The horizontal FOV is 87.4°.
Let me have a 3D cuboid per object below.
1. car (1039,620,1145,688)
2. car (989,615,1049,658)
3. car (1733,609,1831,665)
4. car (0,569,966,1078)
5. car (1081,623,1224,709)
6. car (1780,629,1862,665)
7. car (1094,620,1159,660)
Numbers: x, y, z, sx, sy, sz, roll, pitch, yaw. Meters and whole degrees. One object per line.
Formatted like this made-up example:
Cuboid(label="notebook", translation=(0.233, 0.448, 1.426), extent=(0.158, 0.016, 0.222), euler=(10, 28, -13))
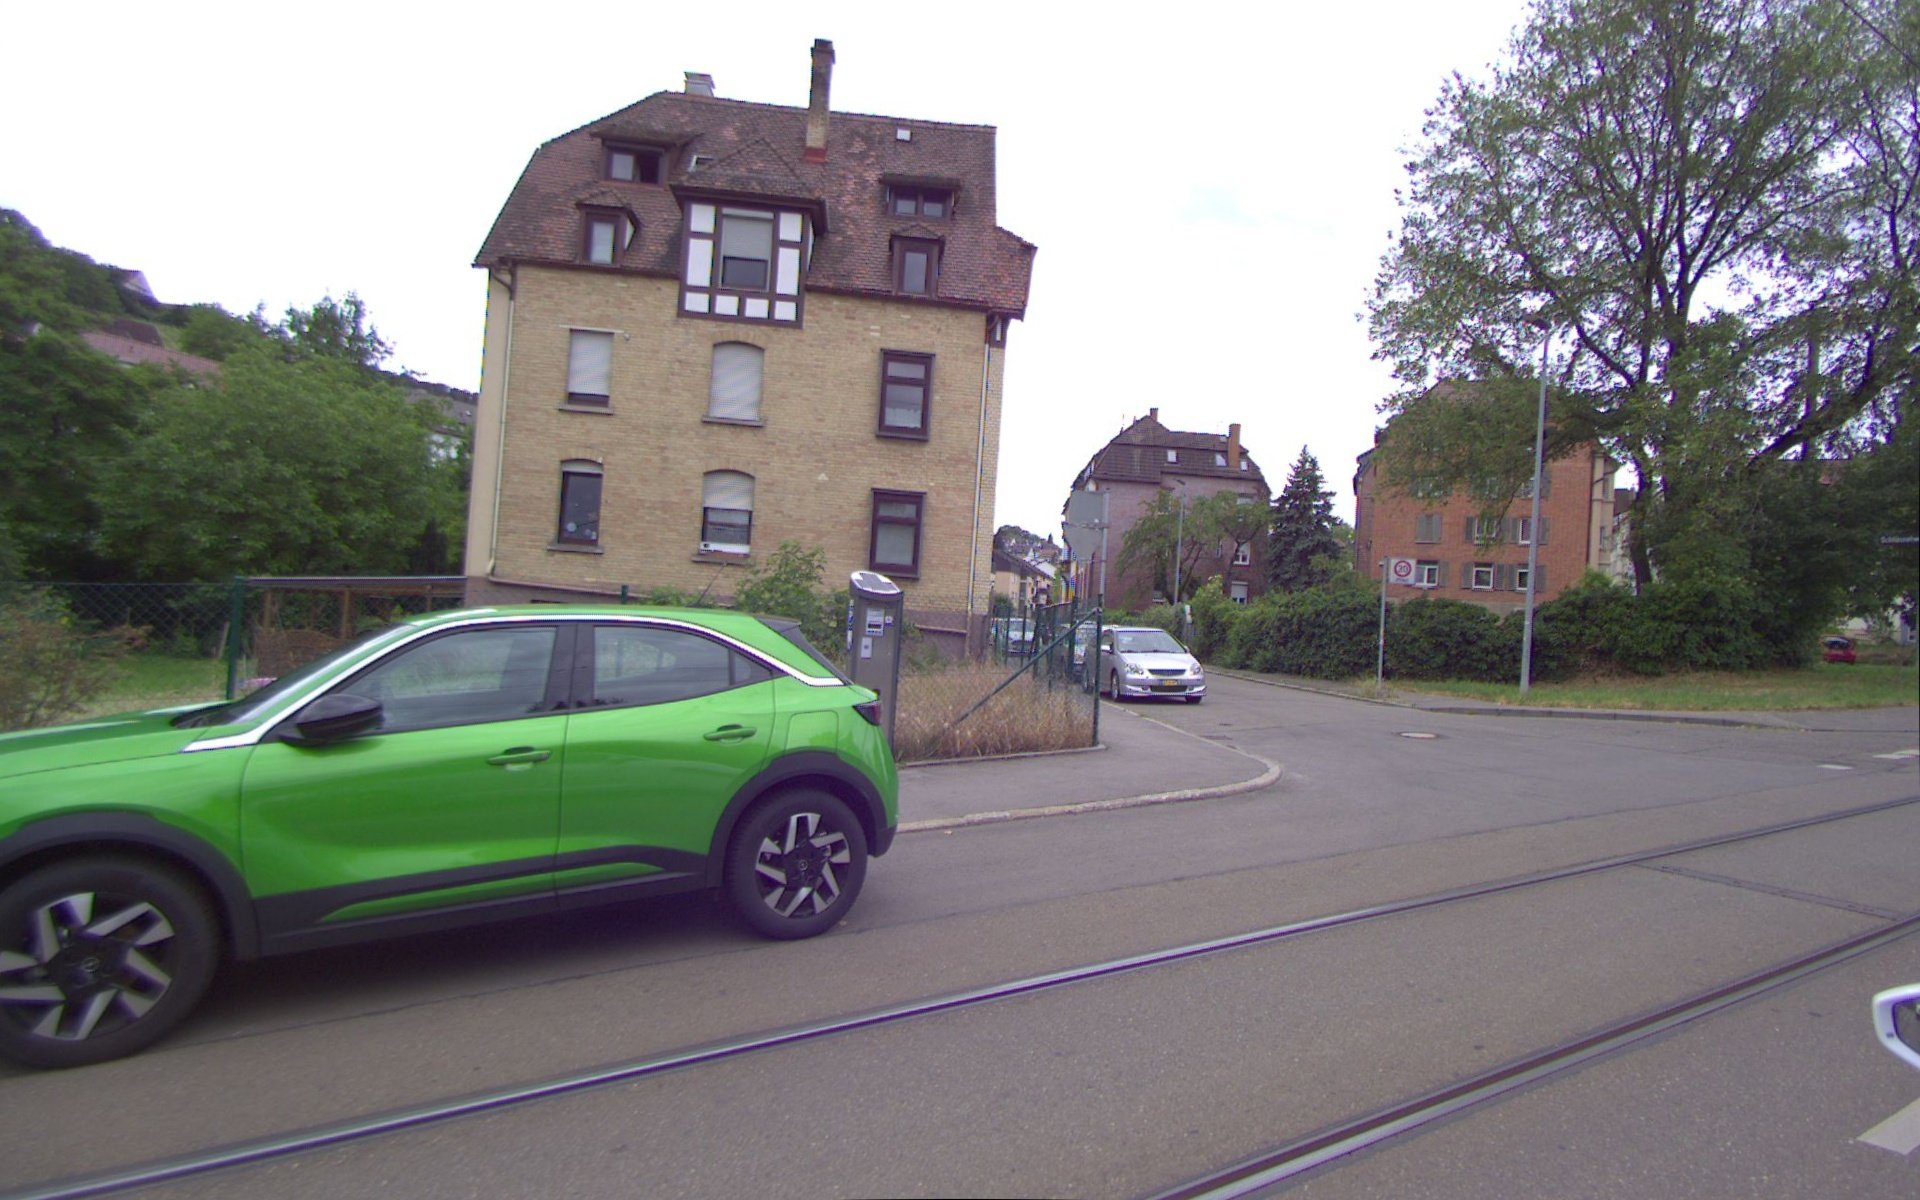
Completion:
Cuboid(label="car", translation=(3.350, 1.354, 26.250), extent=(1.962, 1.514, 3.998), euler=(2, 0, -4))
Cuboid(label="car", translation=(2.302, 1.419, 39.847), extent=(1.855, 1.514, 3.998), euler=(2, 0, -4))
Cuboid(label="car", translation=(27.601, 1.224, 33.865), extent=(1.965, 1.684, 3.991), euler=(2, 0, 31))
Cuboid(label="car", translation=(-2.179, 0.750, 4.666), extent=(4.132, 1.600, 1.715), euler=(2, -1, -31))
Cuboid(label="car", translation=(3.773, 1.250, 20.407), extent=(1.854, 1.437, 3.998), euler=(2, 0, -4))
Cuboid(label="car", translation=(43.369, 2.346, 50.720), extent=(1.961, 1.617, 3.998), euler=(2, 0, 23))
Cuboid(label="car", translation=(7.075, 1.680, 43.040), extent=(1.961, 1.514, 3.999), euler=(2, 0, -2))
